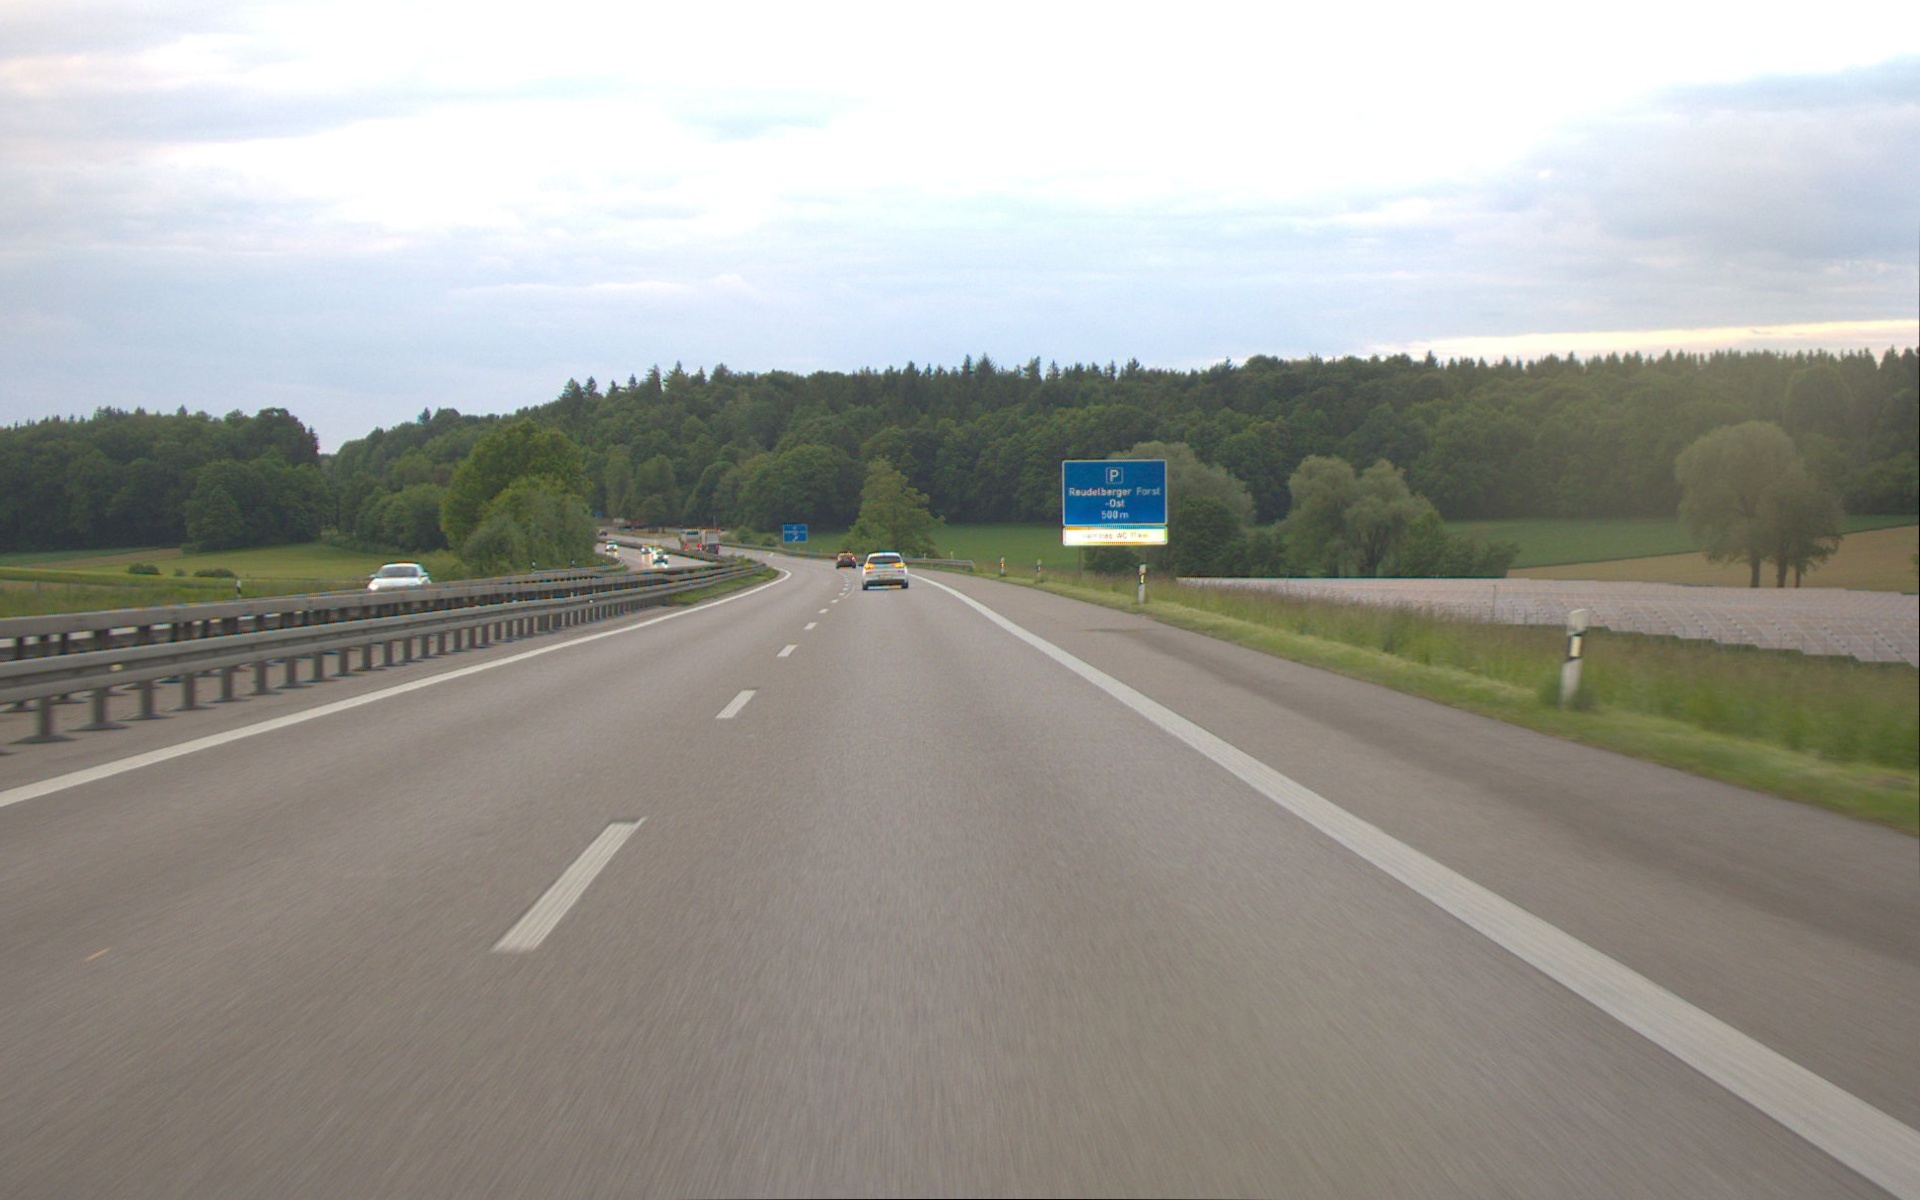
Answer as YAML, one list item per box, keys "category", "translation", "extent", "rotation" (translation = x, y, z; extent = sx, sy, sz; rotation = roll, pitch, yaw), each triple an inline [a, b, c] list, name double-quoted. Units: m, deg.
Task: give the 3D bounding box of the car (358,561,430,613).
- category: "car"
  translation: [-19.505, -0.469, 118.672]
  extent: [1.790, 1.693, 4.590]
  rotation: [1, 1, -1]

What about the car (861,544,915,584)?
- category: "car"
  translation: [-2.862, -1.435, 135.944]
  extent: [1.951, 1.526, 4.081]
  rotation: [1, 1, -3]
